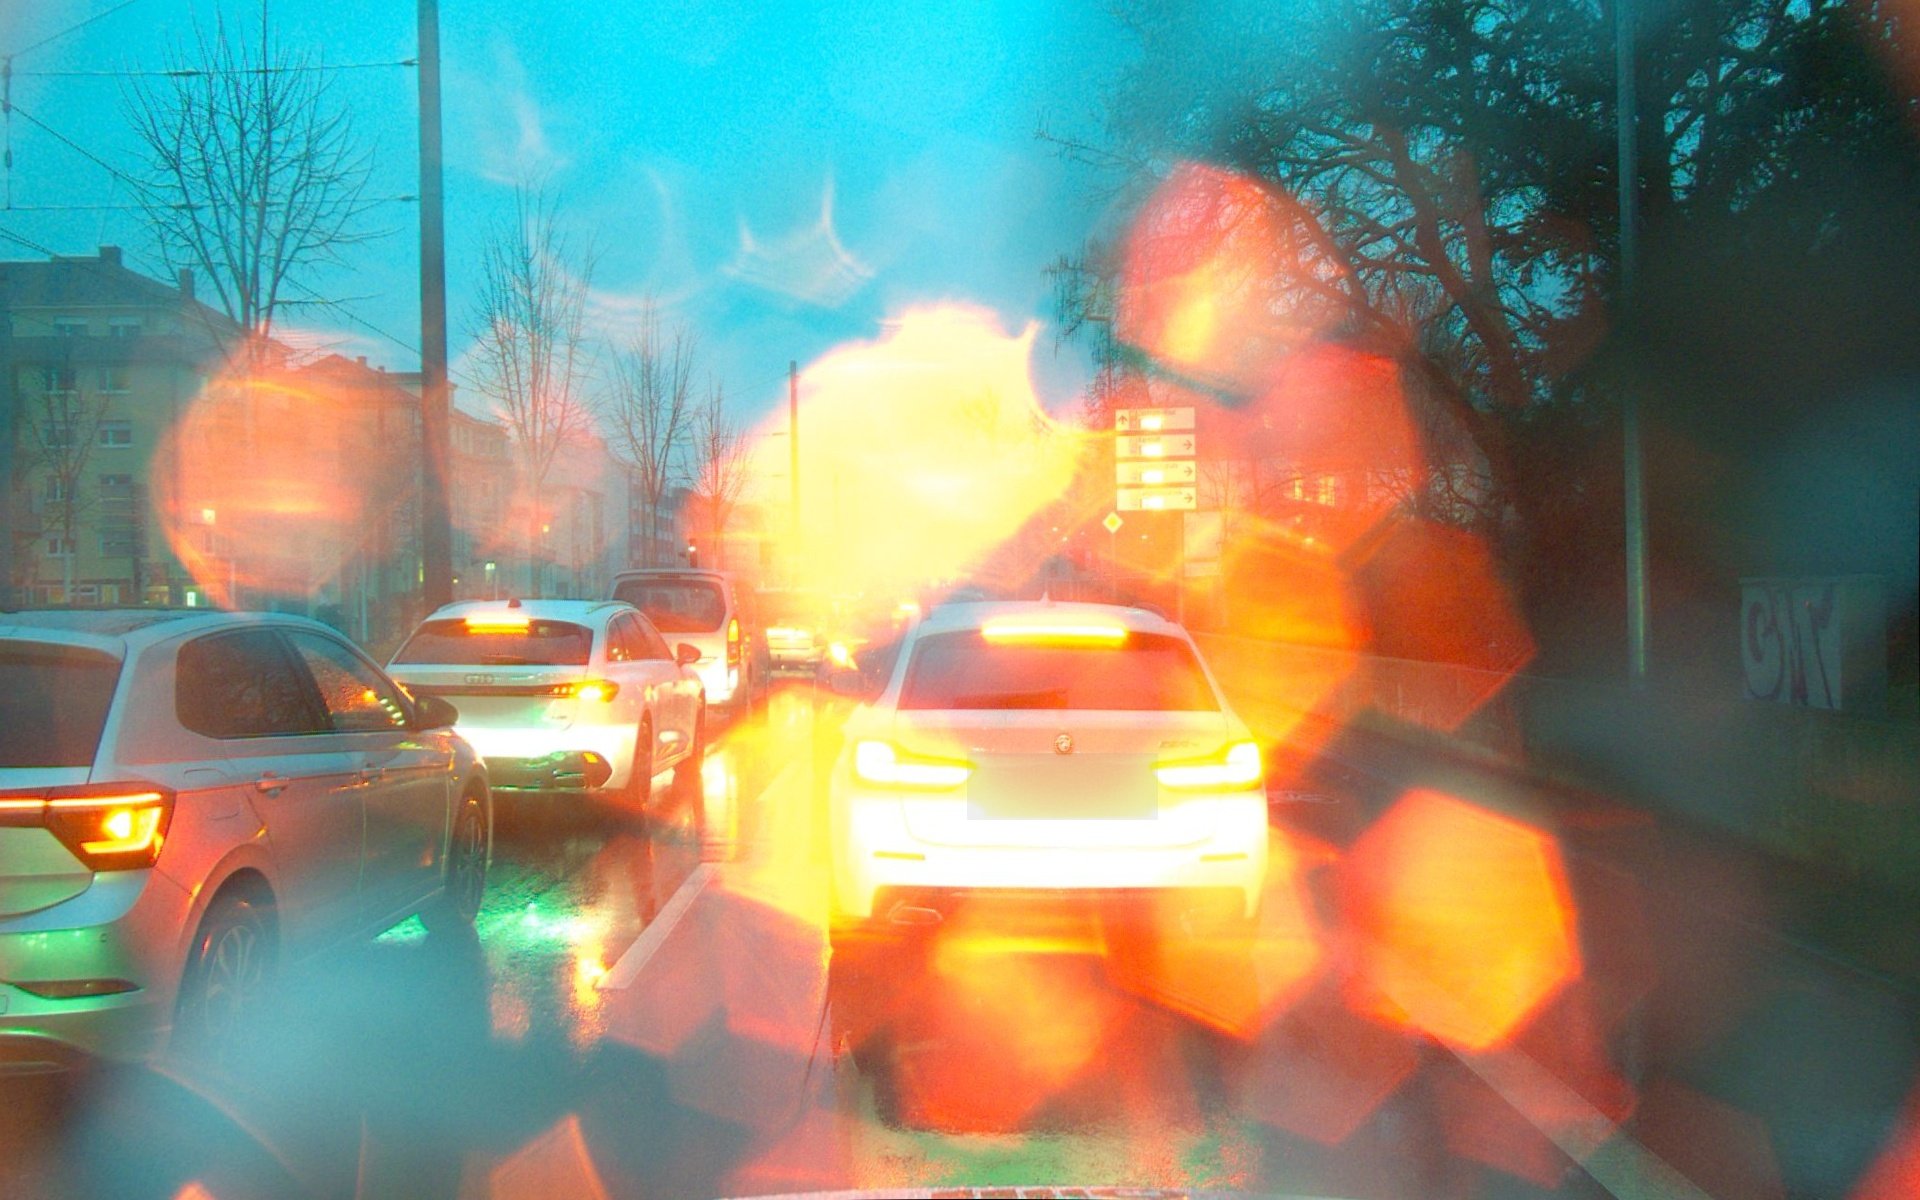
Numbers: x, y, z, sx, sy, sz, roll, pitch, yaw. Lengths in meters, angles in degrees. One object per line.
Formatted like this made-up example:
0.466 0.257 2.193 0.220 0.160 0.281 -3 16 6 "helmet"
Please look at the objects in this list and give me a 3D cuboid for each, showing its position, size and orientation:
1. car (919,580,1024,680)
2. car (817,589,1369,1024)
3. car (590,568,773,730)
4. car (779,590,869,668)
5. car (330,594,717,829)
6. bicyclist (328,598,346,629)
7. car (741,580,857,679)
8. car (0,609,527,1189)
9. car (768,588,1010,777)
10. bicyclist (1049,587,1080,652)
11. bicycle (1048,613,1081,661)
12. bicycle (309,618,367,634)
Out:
0.169 0.496 29.783 1.770 1.674 3.999 0 0 -1 "car"
0.446 0.718 7.948 1.958 1.534 4.162 0 0 -1 "car"
-3.307 0.540 20.418 1.758 1.766 4.534 0 0 -4 "car"
-3.043 0.606 37.658 1.770 1.674 3.999 0 0 -1 "car"
-3.002 0.687 12.416 1.809 1.430 4.612 0 0 -2 "car"
-31.936 0.692 84.748 0.779 1.607 0.632 1 0 -28 "bicyclist"
-2.849 0.494 30.002 1.770 1.674 3.999 0 0 -1 "car"
-2.911 0.746 6.026 1.727 1.395 3.980 0 0 -2 "car"
-0.586 0.633 15.091 1.896 1.483 4.162 0 0 -1 "car"
2.300 0.419 36.531 0.632 1.413 0.890 -1 0 1 "bicyclist"
2.302 0.808 36.507 0.632 0.983 2.047 -1 0 1 "bicycle"
-31.880 1.328 84.777 2.738 0.837 0.632 0 0 -28 "bicycle"
